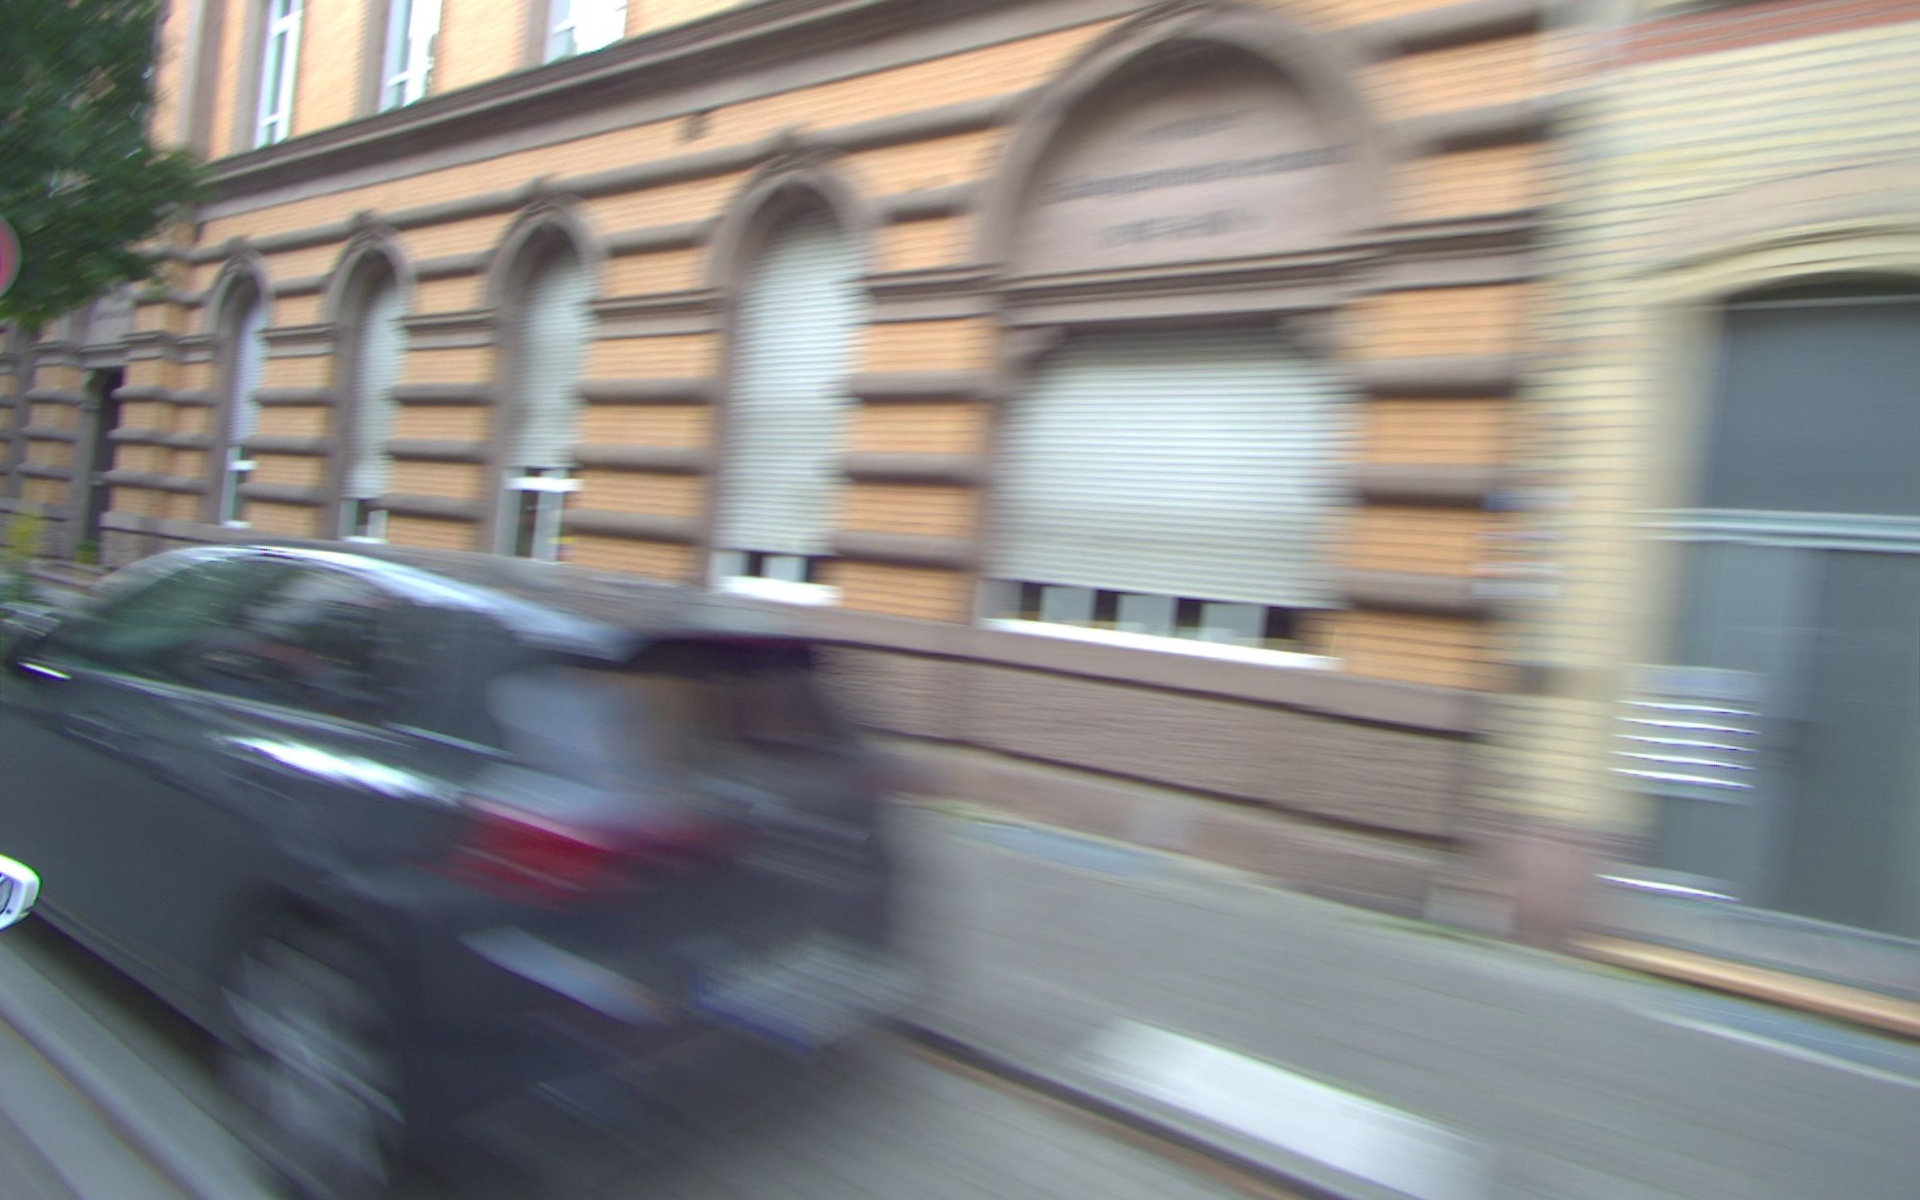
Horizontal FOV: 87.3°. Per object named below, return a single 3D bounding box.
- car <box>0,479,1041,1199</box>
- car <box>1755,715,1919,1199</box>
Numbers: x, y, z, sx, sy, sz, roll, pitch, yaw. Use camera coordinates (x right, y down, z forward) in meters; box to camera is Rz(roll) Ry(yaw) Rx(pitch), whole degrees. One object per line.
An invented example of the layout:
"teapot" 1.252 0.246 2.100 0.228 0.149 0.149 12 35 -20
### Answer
"car" -2.016 0.516 3.497 4.122 1.495 1.714 7 -1 31
"car" 3.033 1.119 0.272 4.173 1.484 1.630 7 0 30
